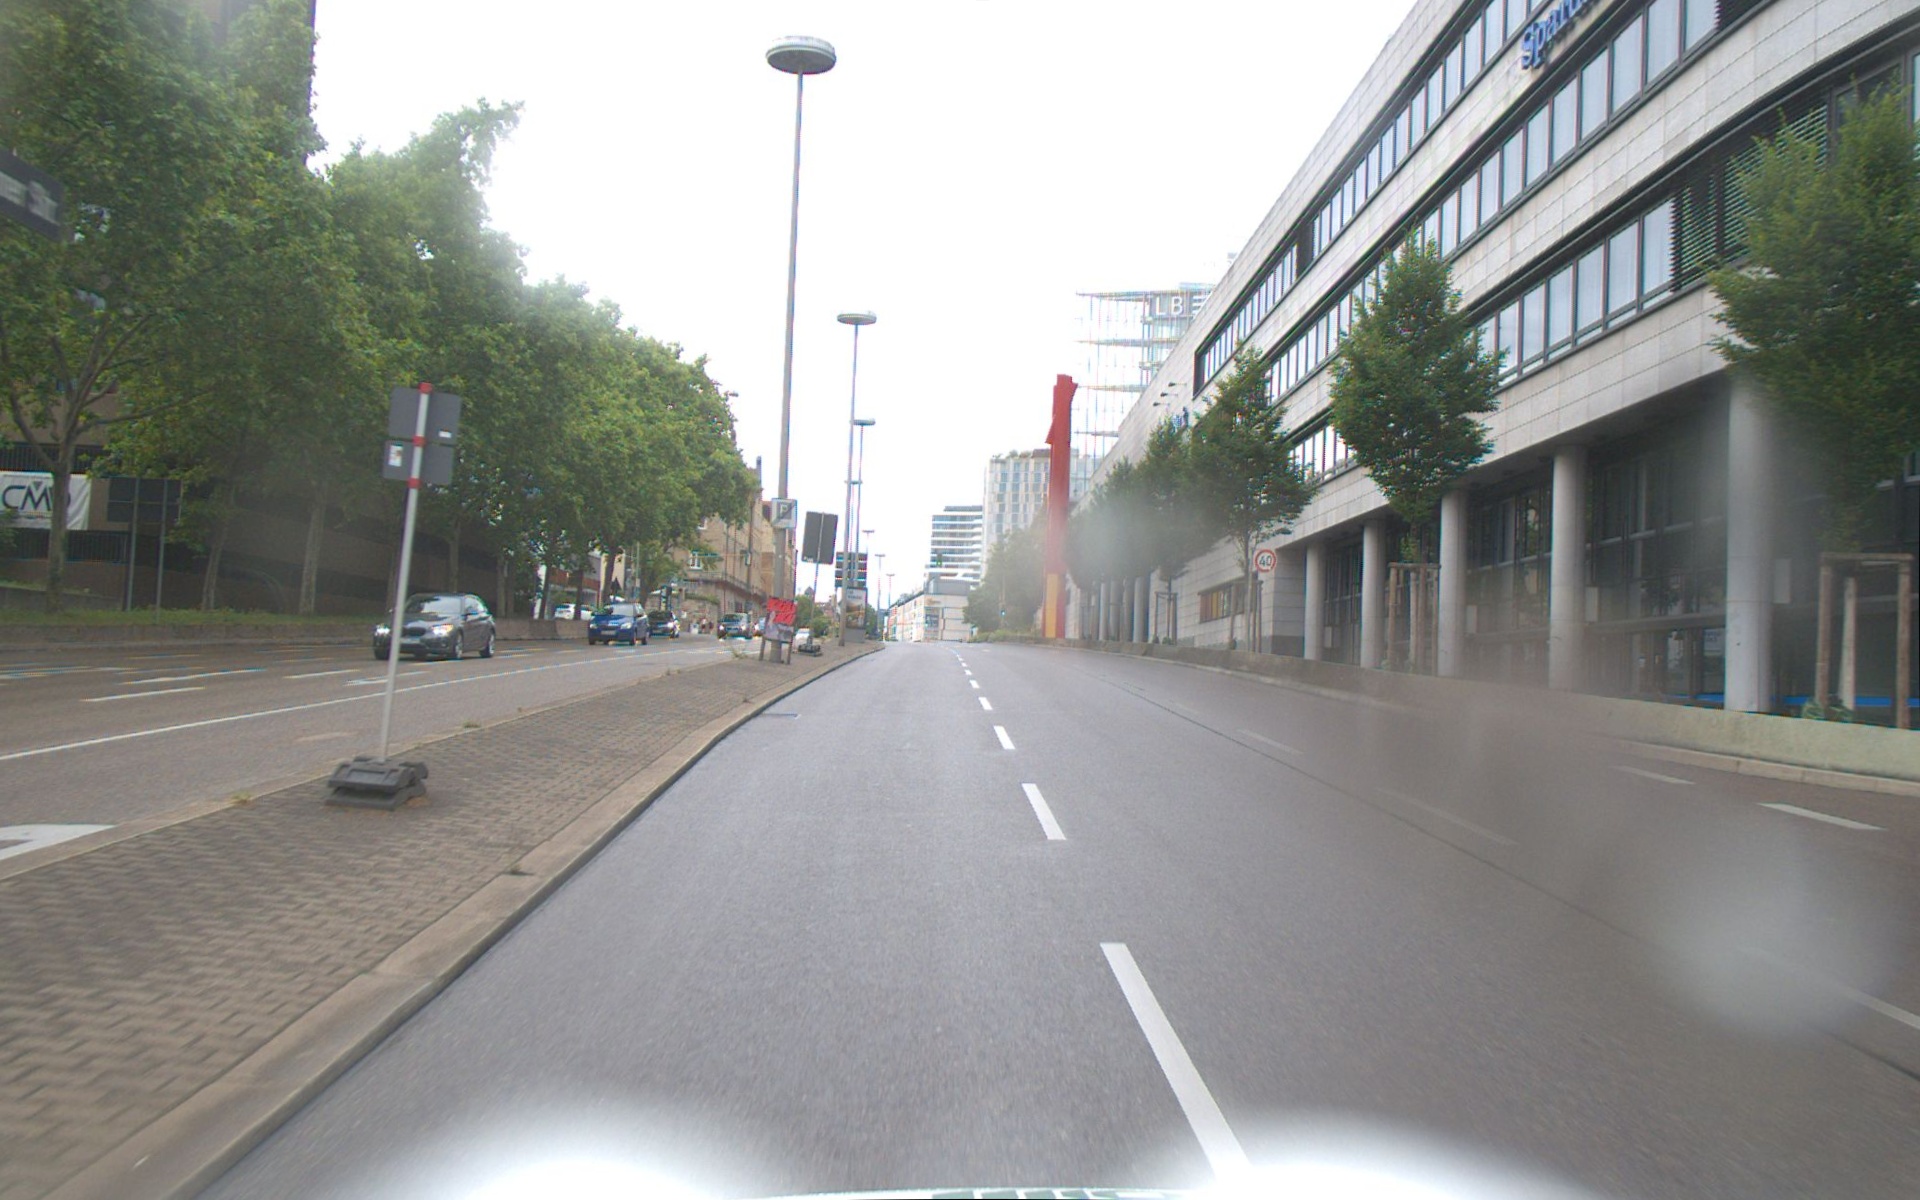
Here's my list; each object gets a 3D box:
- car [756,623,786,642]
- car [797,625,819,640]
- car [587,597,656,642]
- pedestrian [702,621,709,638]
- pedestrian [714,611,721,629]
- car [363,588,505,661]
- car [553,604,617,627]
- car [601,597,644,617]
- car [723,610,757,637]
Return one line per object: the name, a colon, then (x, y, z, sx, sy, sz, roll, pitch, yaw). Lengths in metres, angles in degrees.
car: (-14.650, 2.508, 128.194, 1.782, 1.428, 4.000, 0, -2, 1)
car: (-15.100, 3.237, 164.420, 1.782, 1.494, 4.000, 0, -2, 1)
car: (-11.938, 0.689, 58.519, 1.575, 1.499, 4.067, 1, 0, 0)
pedestrian: (-23.871, 2.761, 155.133, 0.488, 1.639, 0.500, 2, -2, 2)
pedestrian: (-22.782, 1.852, 155.267, 0.488, 1.639, 0.500, 2, -2, 2)
car: (-11.378, 0.492, 36.054, 1.770, 1.474, 4.339, 1, 0, -1)
car: (-27.947, 1.184, 123.343, 1.789, 1.537, 4.558, -1, -3, 37)
car: (-30.695, 0.638, 150.374, 3.557, 1.730, 1.824, 0, -2, -4)
car: (-12.220, 1.309, 92.125, 1.653, 1.435, 3.996, 1, -1, -4)
